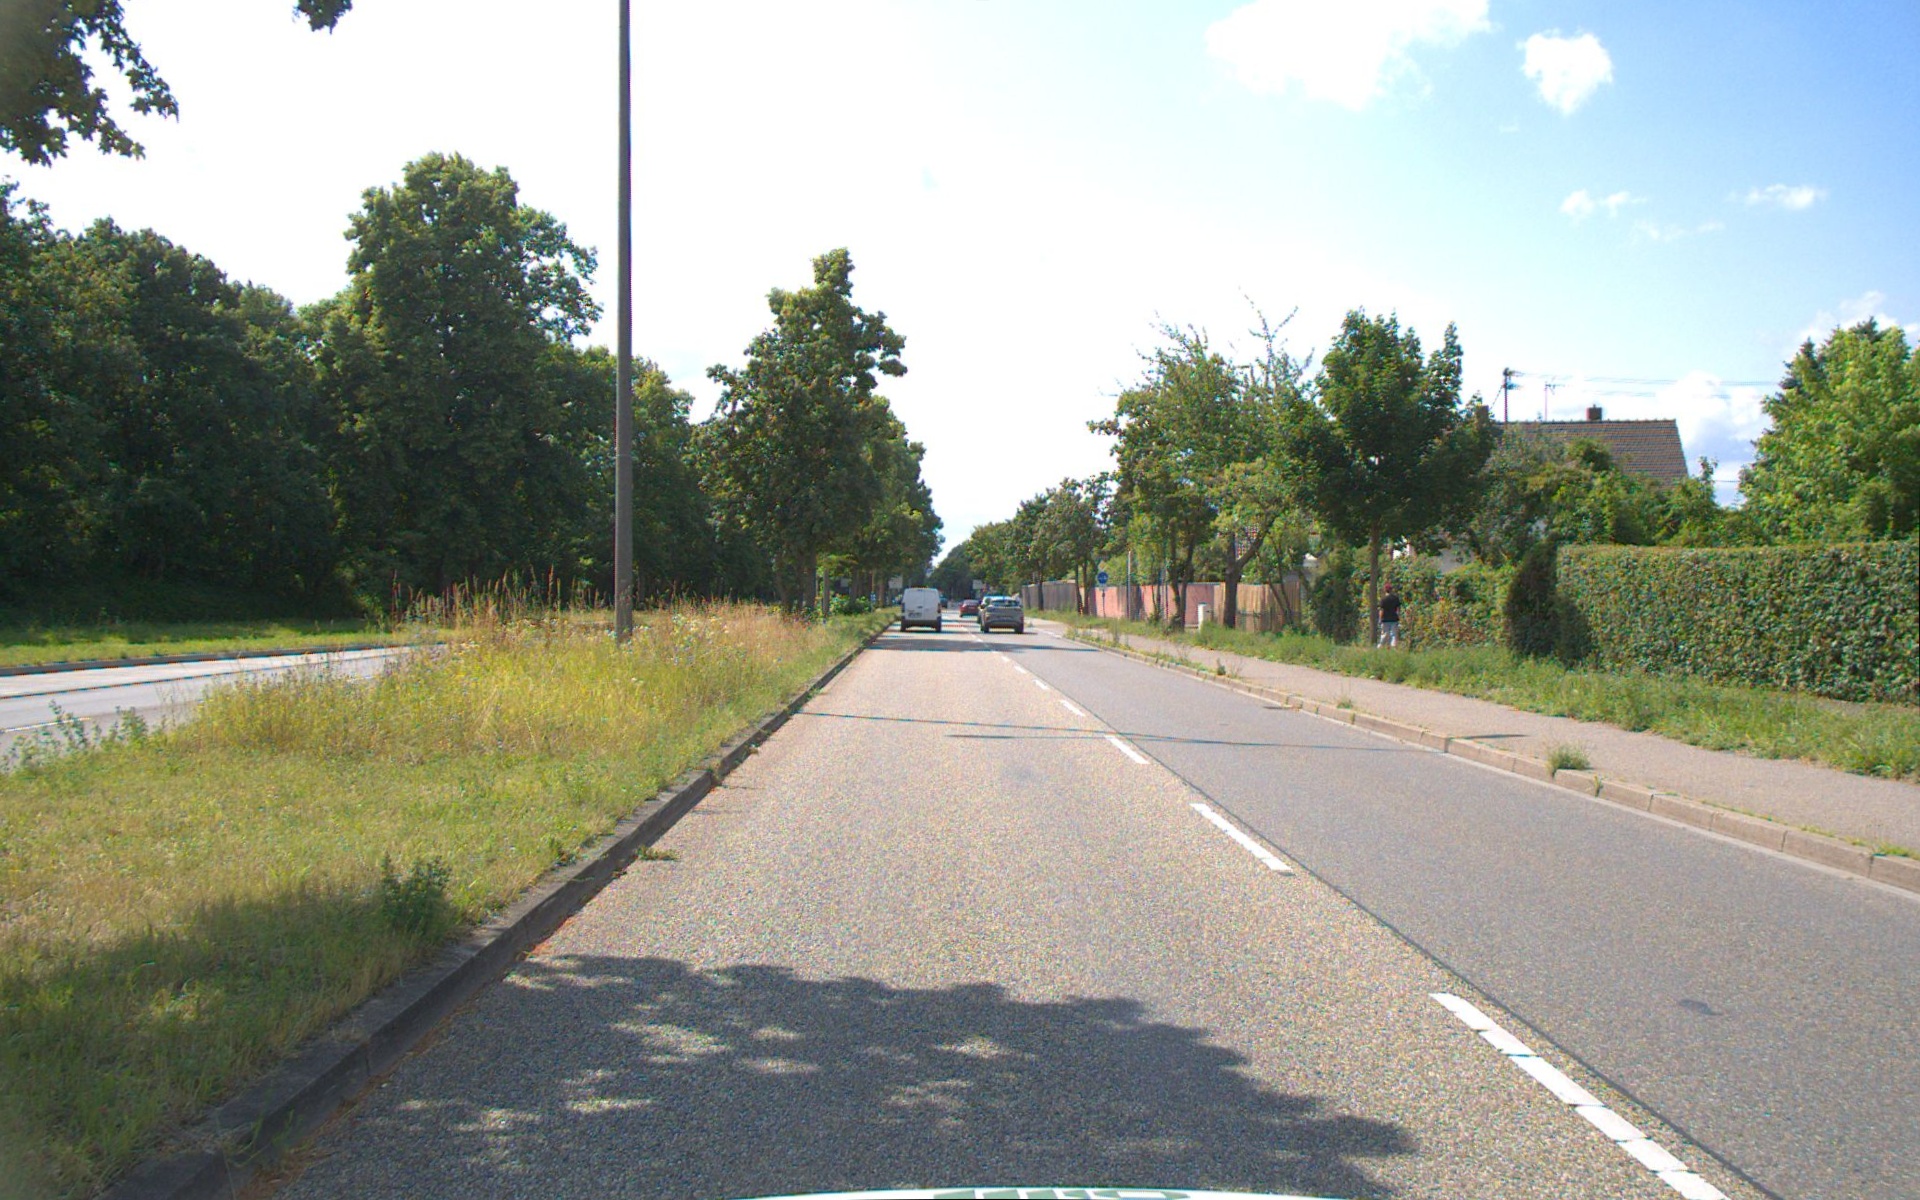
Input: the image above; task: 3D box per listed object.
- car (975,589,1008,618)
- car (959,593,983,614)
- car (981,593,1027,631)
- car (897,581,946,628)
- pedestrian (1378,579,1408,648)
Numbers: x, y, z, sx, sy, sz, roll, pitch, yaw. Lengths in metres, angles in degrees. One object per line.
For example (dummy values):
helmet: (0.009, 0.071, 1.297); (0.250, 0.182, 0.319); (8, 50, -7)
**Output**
car: (1.845, 0.208, 98.617); (1.837, 1.681, 3.999); (0, 0, -1)
car: (0.917, 0.277, 136.092); (1.842, 1.615, 3.999); (1, 0, -1)
car: (1.908, 0.516, 72.976); (1.837, 1.617, 4.183); (0, 0, -1)
car: (-1.661, 0.171, 71.468); (2.024, 1.945, 4.645); (1, 0, -1)
pedestrian: (10.736, 0.329, 41.058); (0.548, 1.706, 0.634); (1, 0, -2)
